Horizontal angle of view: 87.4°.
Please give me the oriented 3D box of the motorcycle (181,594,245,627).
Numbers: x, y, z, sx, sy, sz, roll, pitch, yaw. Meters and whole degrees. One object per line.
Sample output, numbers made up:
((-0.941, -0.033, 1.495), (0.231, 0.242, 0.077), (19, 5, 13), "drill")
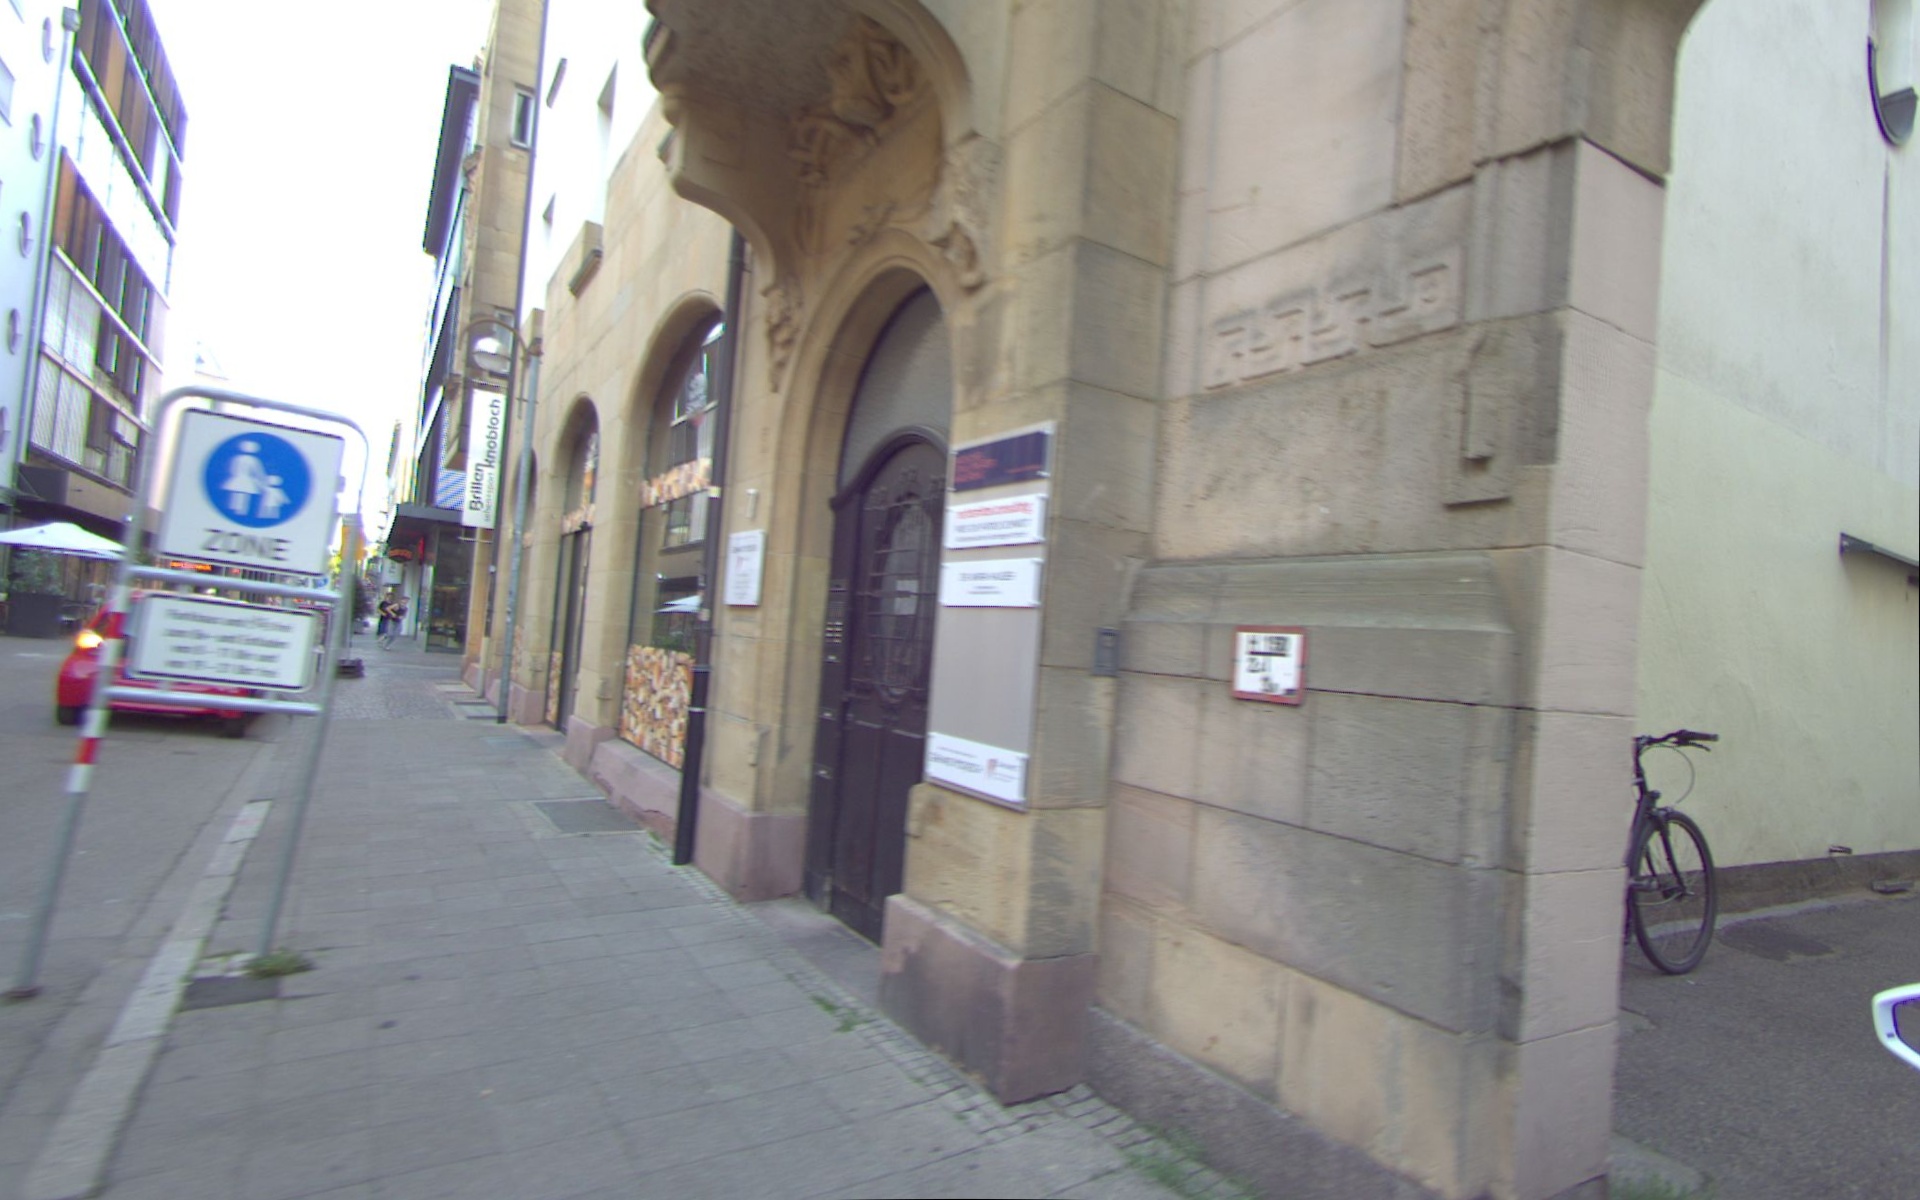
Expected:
((-34.153, 0.469, 45.955), (2.169, 1.299, 0.646), (7, -3, -29), "motorcycle")

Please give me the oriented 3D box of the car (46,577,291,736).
((-8.994, 0.617, 11.692), (1.621, 1.459, 3.131), (9, -5, -30), "car")

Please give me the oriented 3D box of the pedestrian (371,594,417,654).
((-16.778, 0.701, 29.774), (0.917, 1.692, 0.808), (2, -4, 43), "pedestrian")

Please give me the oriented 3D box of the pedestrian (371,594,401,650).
((-18.214, 0.701, 31.867), (0.663, 1.692, 0.758), (6, -3, -29), "pedestrian")

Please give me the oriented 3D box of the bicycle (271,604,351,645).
((-19.697, 0.750, 30.546), (1.932, 1.145, 0.615), (4, -2, -30), "bicycle")

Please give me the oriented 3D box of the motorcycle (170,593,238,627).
((-32.830, 0.443, 43.657), (2.169, 1.299, 0.646), (7, -3, -29), "motorcycle")

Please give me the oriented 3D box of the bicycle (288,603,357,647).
((-18.663, 0.729, 29.429), (1.590, 1.133, 0.615), (6, -3, -30), "bicycle")

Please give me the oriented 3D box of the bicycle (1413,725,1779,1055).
((2.742, 1.128, 4.265), (1.737, 1.093, 0.592), (6, -3, -32), "bicycle")
